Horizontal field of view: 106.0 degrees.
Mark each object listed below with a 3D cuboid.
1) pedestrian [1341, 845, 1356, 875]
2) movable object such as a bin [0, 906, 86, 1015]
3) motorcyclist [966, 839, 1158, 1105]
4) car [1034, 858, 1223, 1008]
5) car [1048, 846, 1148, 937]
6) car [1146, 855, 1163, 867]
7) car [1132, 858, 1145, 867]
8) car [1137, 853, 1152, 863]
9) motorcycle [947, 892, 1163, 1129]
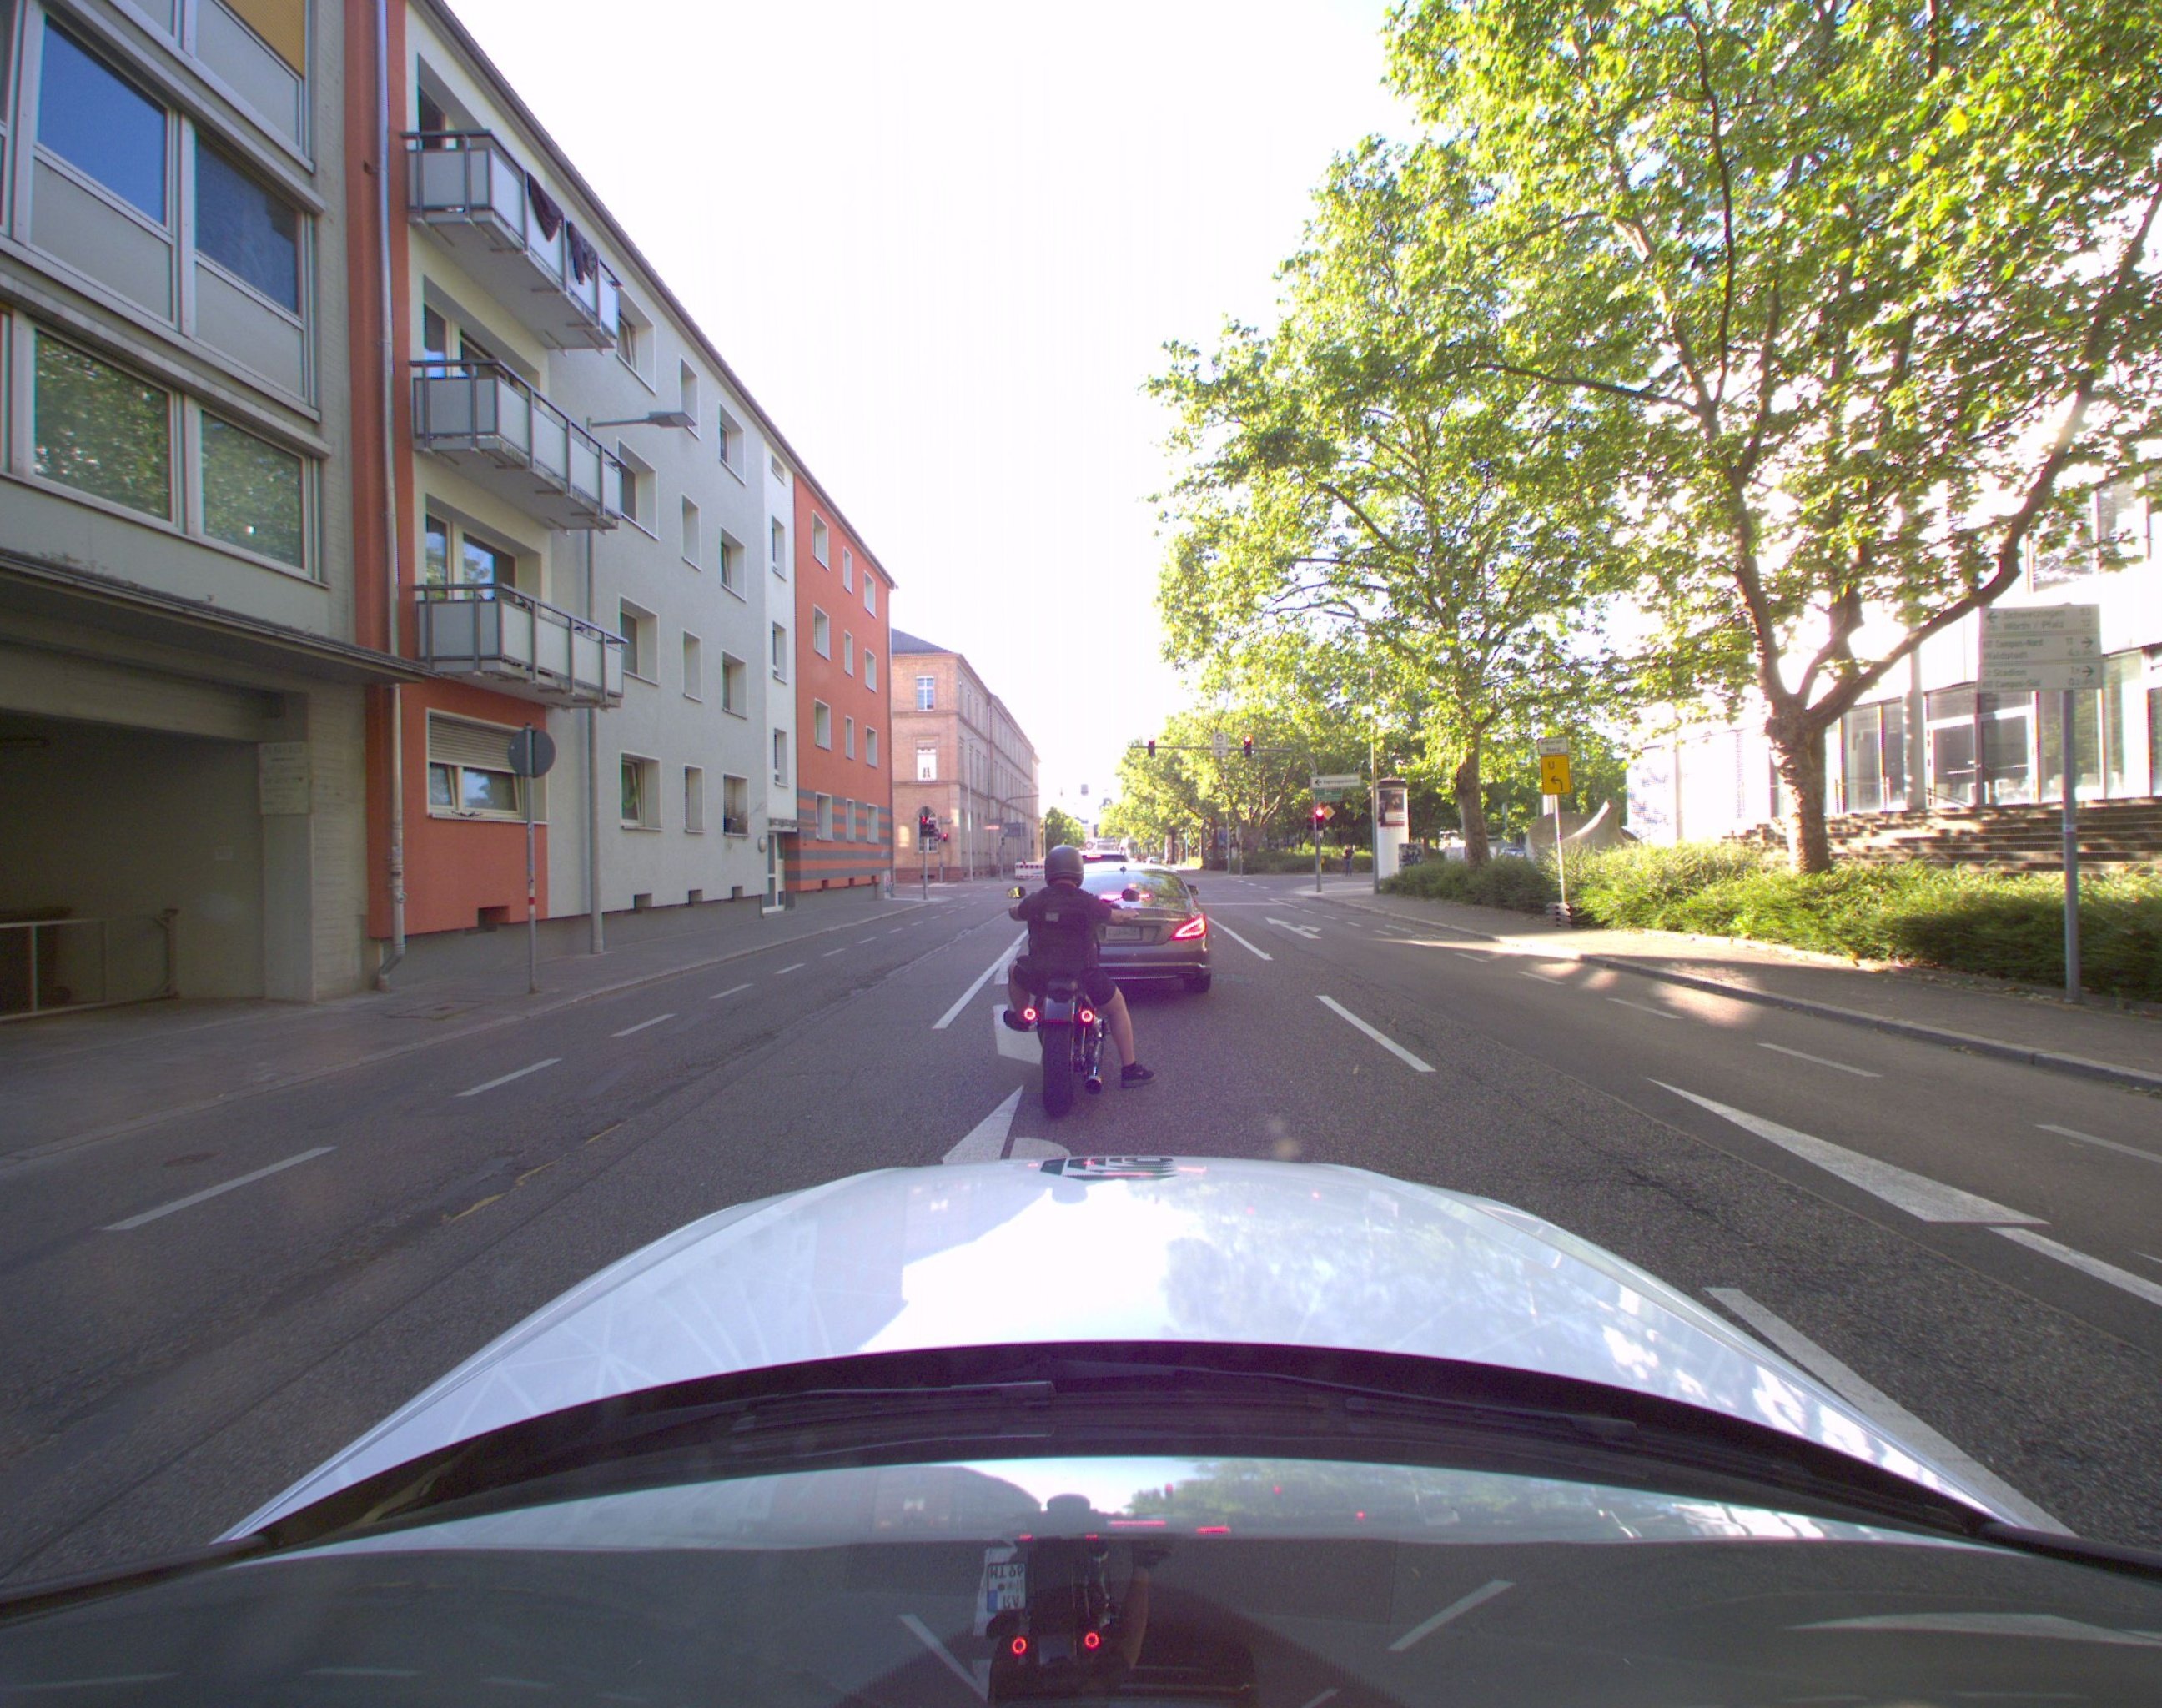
[{"bbox_3d":[16.169,0.351,49.204,0.728,1.778,0.734,-1,-1,32],"label":"pedestrian"},{"bbox_3d":[-11.287,1.114,8.651,0.533,1.079,0.723,0,-1,3],"label":"movable object such as a bin"},{"bbox_3d":[-0.073,0.703,5.408,1.093,1.566,1.074,0,-1,8],"label":"motorcyclist"},{"bbox_3d":[0.517,0.778,9.783,1.815,1.437,3.807,0,-1,2],"label":"car"},{"bbox_3d":[0.378,0.710,17.072,1.856,1.678,4.001,0,-1,2],"label":"car"},{"bbox_3d":[8.332,0.774,92.431,1.625,1.259,3.717,0,-1,2],"label":"car"},{"bbox_3d":[7.919,1.188,112.567,1.625,1.259,3.717,0,-1,2],"label":"car"},{"bbox_3d":[7.941,0.505,101.882,1.625,1.259,3.717,0,-1,2],"label":"car"},{"bbox_3d":[-0.044,0.911,5.627,1.111,1.207,2.217,0,-1,8],"label":"motorcycle"}]
